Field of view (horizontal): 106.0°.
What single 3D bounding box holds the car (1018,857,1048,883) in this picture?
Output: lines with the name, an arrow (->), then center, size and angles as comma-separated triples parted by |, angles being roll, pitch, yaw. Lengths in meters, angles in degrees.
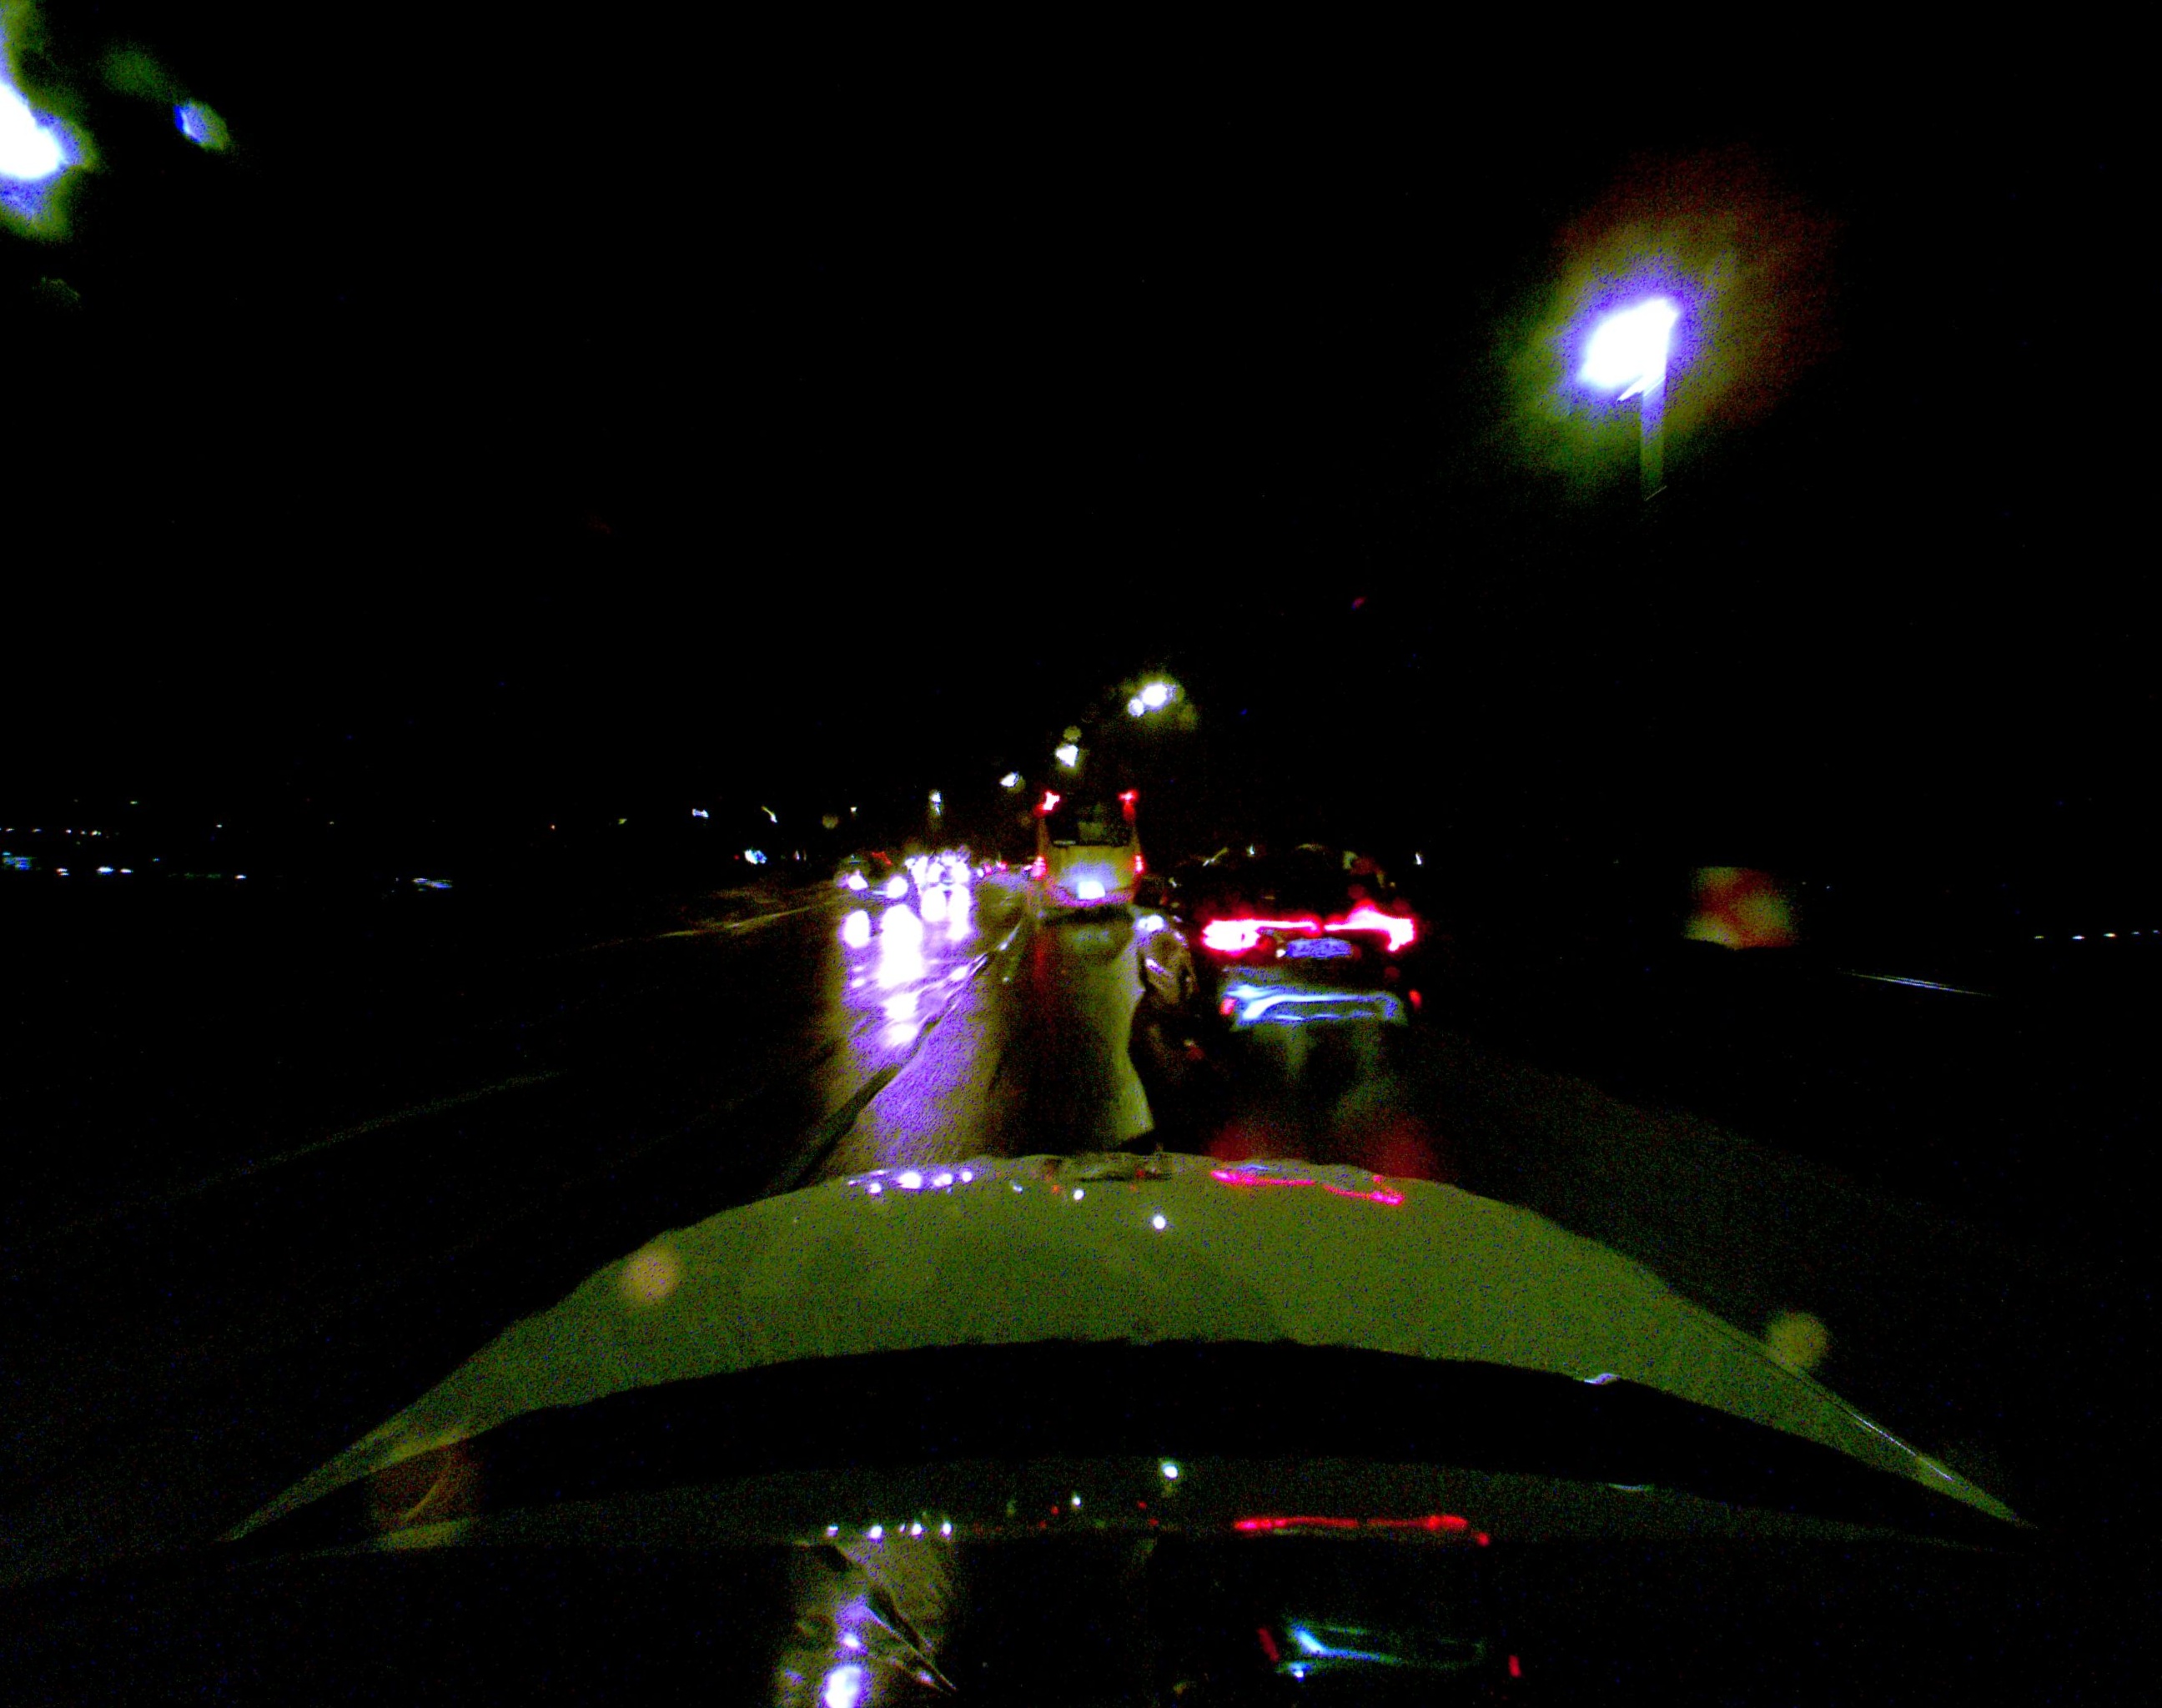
car -> -3.223, 1.010, 53.911 | 1.636, 1.656, 3.698 | 0, 0, -9

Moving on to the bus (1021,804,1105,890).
bus -> -0.993, -0.351, 36.220 | 3.043, 3.131, 8.067 | -5, 2, -4

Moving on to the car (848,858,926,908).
car -> -6.472, 0.914, 27.545 | 1.762, 1.517, 3.946 | -1, 0, -2

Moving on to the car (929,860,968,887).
car -> -7.378, 1.064, 45.710 | 1.763, 1.427, 4.212 | -2, 0, -5

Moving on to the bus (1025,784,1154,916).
bus -> -0.218, -0.137, 25.737 | 3.077, 3.132, 12.678 | 0, 0, -4

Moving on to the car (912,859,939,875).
car -> -15.072, 1.221, 78.925 | 1.902, 1.439, 4.035 | -1, 0, -20

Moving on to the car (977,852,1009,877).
car -> -7.627, 0.882, 70.366 | 1.998, 2.013, 3.977 | -1, 0, -17

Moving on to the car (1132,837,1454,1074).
car -> 1.600, 0.714, 7.637 | 1.851, 1.586, 3.997 | -1, -1, -2
